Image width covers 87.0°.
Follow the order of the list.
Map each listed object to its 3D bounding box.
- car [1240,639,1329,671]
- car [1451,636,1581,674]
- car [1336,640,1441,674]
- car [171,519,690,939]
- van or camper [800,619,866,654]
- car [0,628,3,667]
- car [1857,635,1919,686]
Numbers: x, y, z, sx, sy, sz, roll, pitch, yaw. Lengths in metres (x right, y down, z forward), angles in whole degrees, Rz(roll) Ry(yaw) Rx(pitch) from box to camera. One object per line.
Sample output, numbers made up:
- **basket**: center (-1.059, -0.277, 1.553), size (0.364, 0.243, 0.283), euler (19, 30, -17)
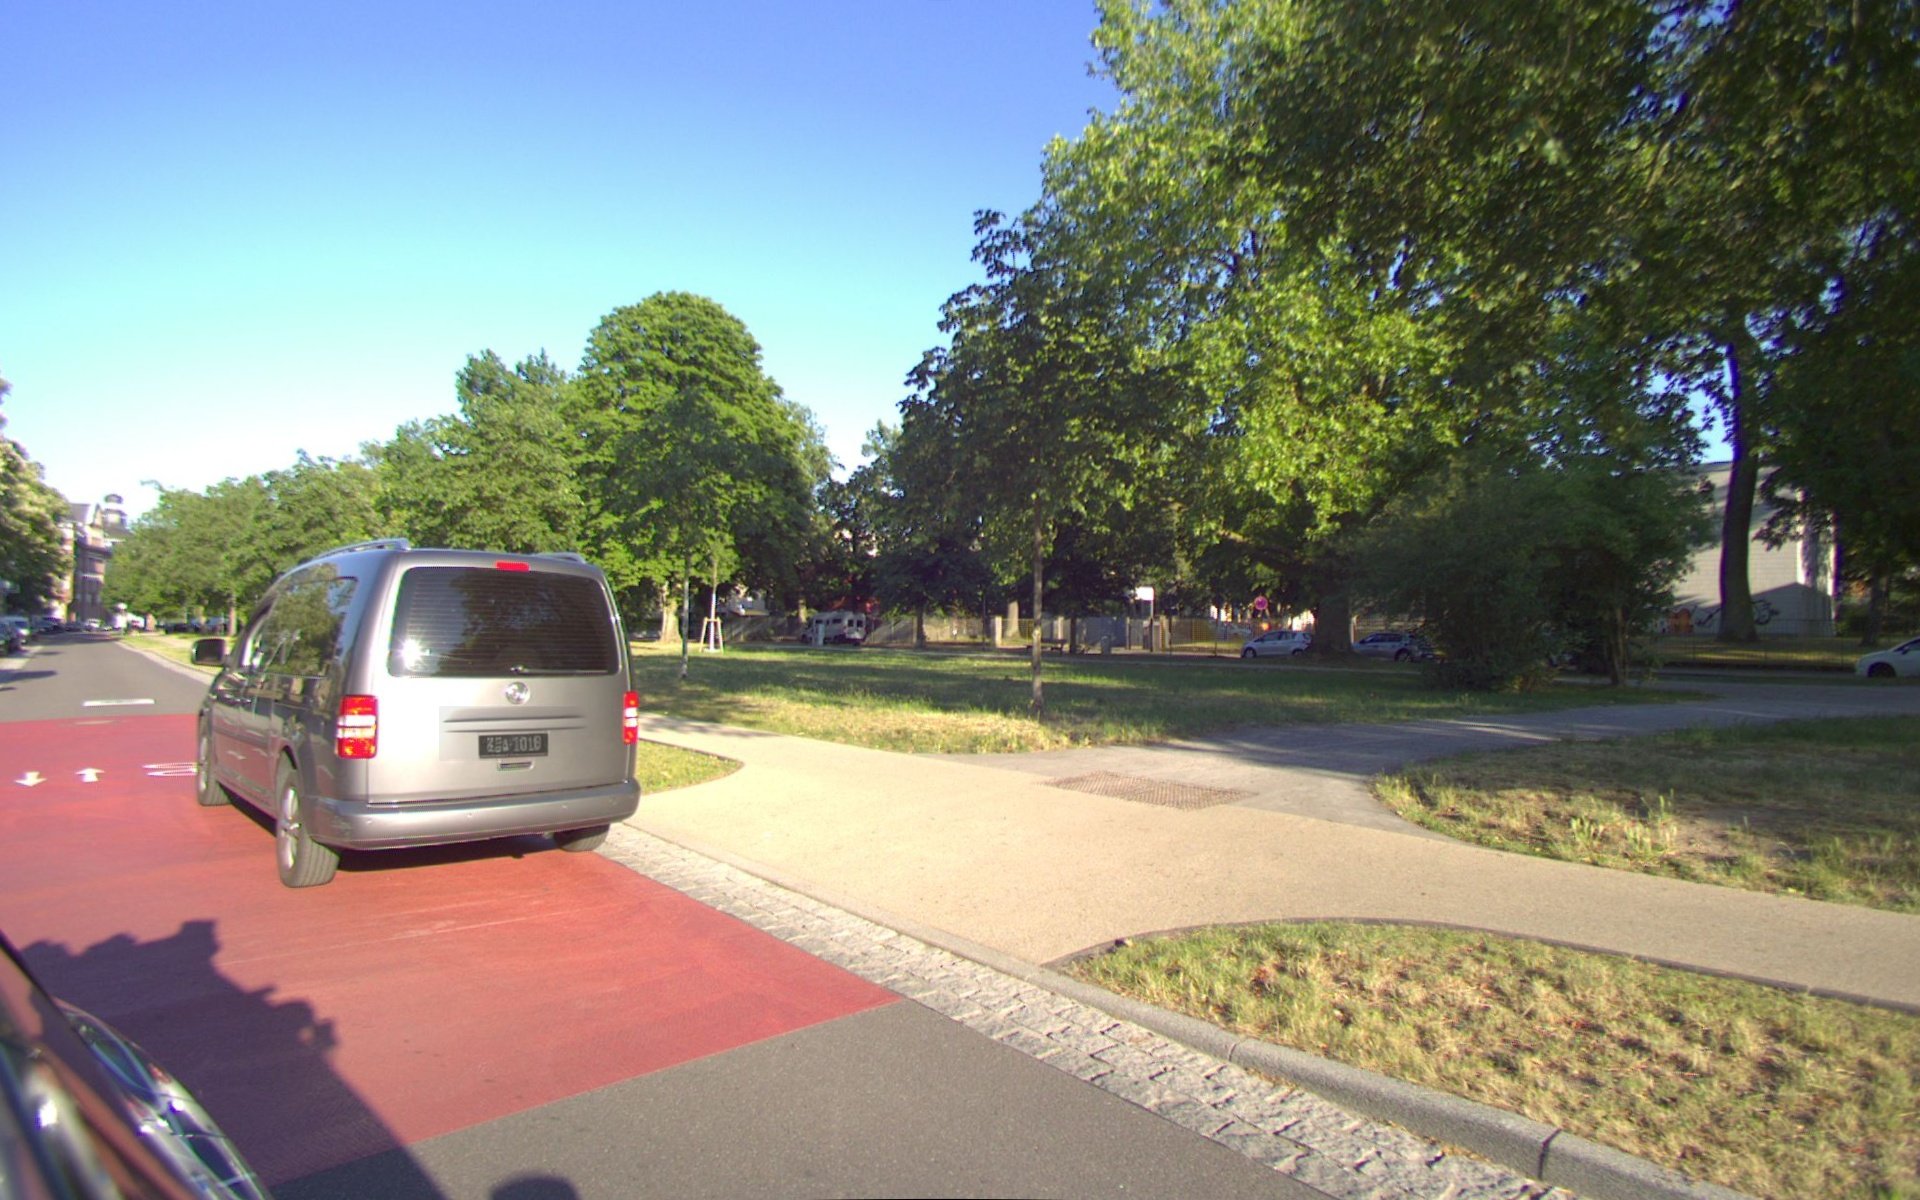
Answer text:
- **car**: center (14.940, 2.501, 46.679), size (1.503, 1.378, 3.654), euler (1, -2, -42)
- **car**: center (21.372, 2.082, 39.029), size (1.503, 1.378, 4.113), euler (1, -2, -42)
- **car**: center (18.137, 2.387, 42.955), size (1.503, 1.378, 3.797), euler (1, -2, -42)
- **car**: center (-3.806, 0.637, 6.795), size (1.822, 1.861, 4.577), euler (4, -4, -44)
- **van or camper**: center (-9.390, 2.651, 74.398), size (1.970, 2.458, 5.472), euler (1, -2, -43)
- **car**: center (-38.892, 1.863, 39.609), size (1.969, 1.521, 4.005), euler (1, -2, -42)
- **car**: center (29.293, 1.803, 30.124), size (1.580, 1.475, 3.669), euler (1, -2, -39)
